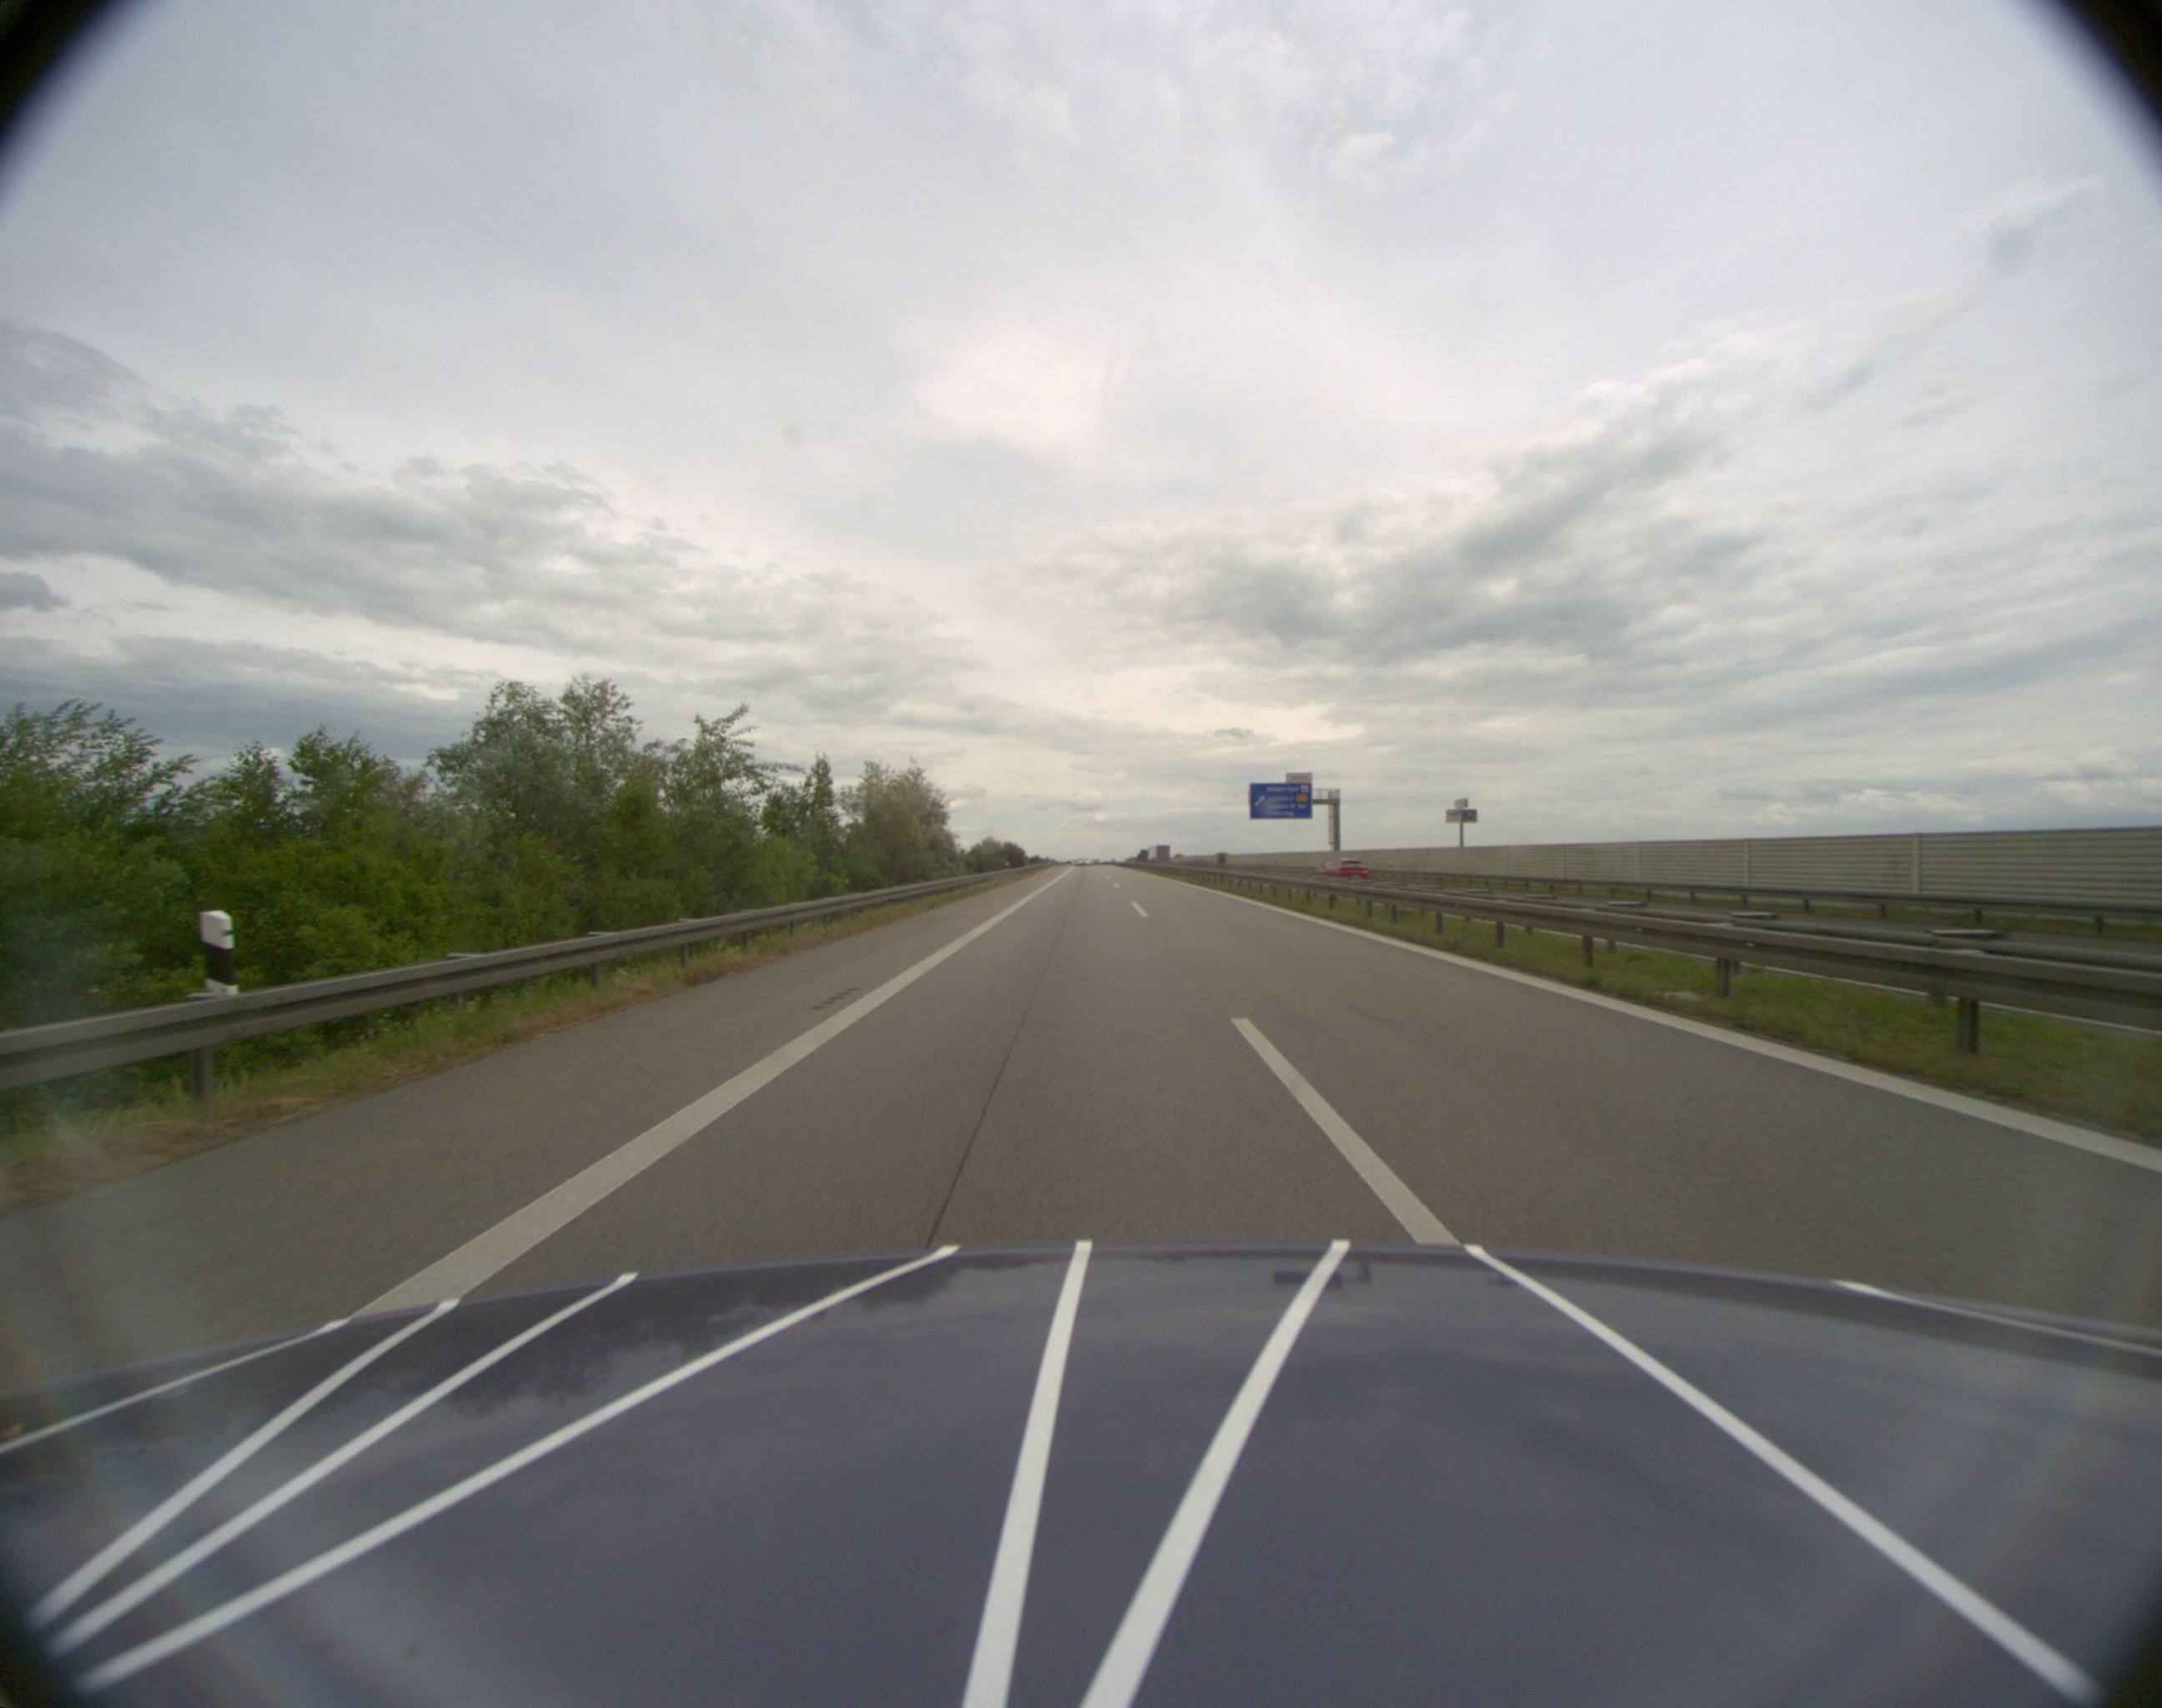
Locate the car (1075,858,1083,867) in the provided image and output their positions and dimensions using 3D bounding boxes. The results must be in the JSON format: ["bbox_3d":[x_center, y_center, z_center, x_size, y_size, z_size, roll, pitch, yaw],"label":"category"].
[{"bbox_3d":[-0.468,1.965,176.110,1.851,1.849,4.000,1,-1,-3],"label":"car"}]

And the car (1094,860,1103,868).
[{"bbox_3d":[4.150,2.336,178.291,1.850,1.664,4.200,1,-1,0],"label":"car"}]

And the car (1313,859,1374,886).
[{"bbox_3d":[14.671,0.984,42.746,1.822,1.395,4.877,0,0,1],"label":"car"}]

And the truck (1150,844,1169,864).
[{"bbox_3d":[16.255,0.044,157.586,3.117,3.990,7.324,1,0,0],"label":"truck"}]

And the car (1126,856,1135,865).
[{"bbox_3d":[12.484,1.611,190.666,1.819,1.836,4.181,-6,0,0],"label":"car"}]

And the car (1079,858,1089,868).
[{"bbox_3d":[0.530,1.706,139.791,1.850,1.664,4.200,1,-1,0],"label":"car"}]

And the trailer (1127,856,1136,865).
[{"bbox_3d":[12.471,1.596,186.642,1.819,1.836,3.863,-6,0,0],"label":"trailer"}]

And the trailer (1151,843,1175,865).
[{"bbox_3d":[16.252,0.012,151.398,3.187,4.052,14.024,1,0,0],"label":"trailer"}]
